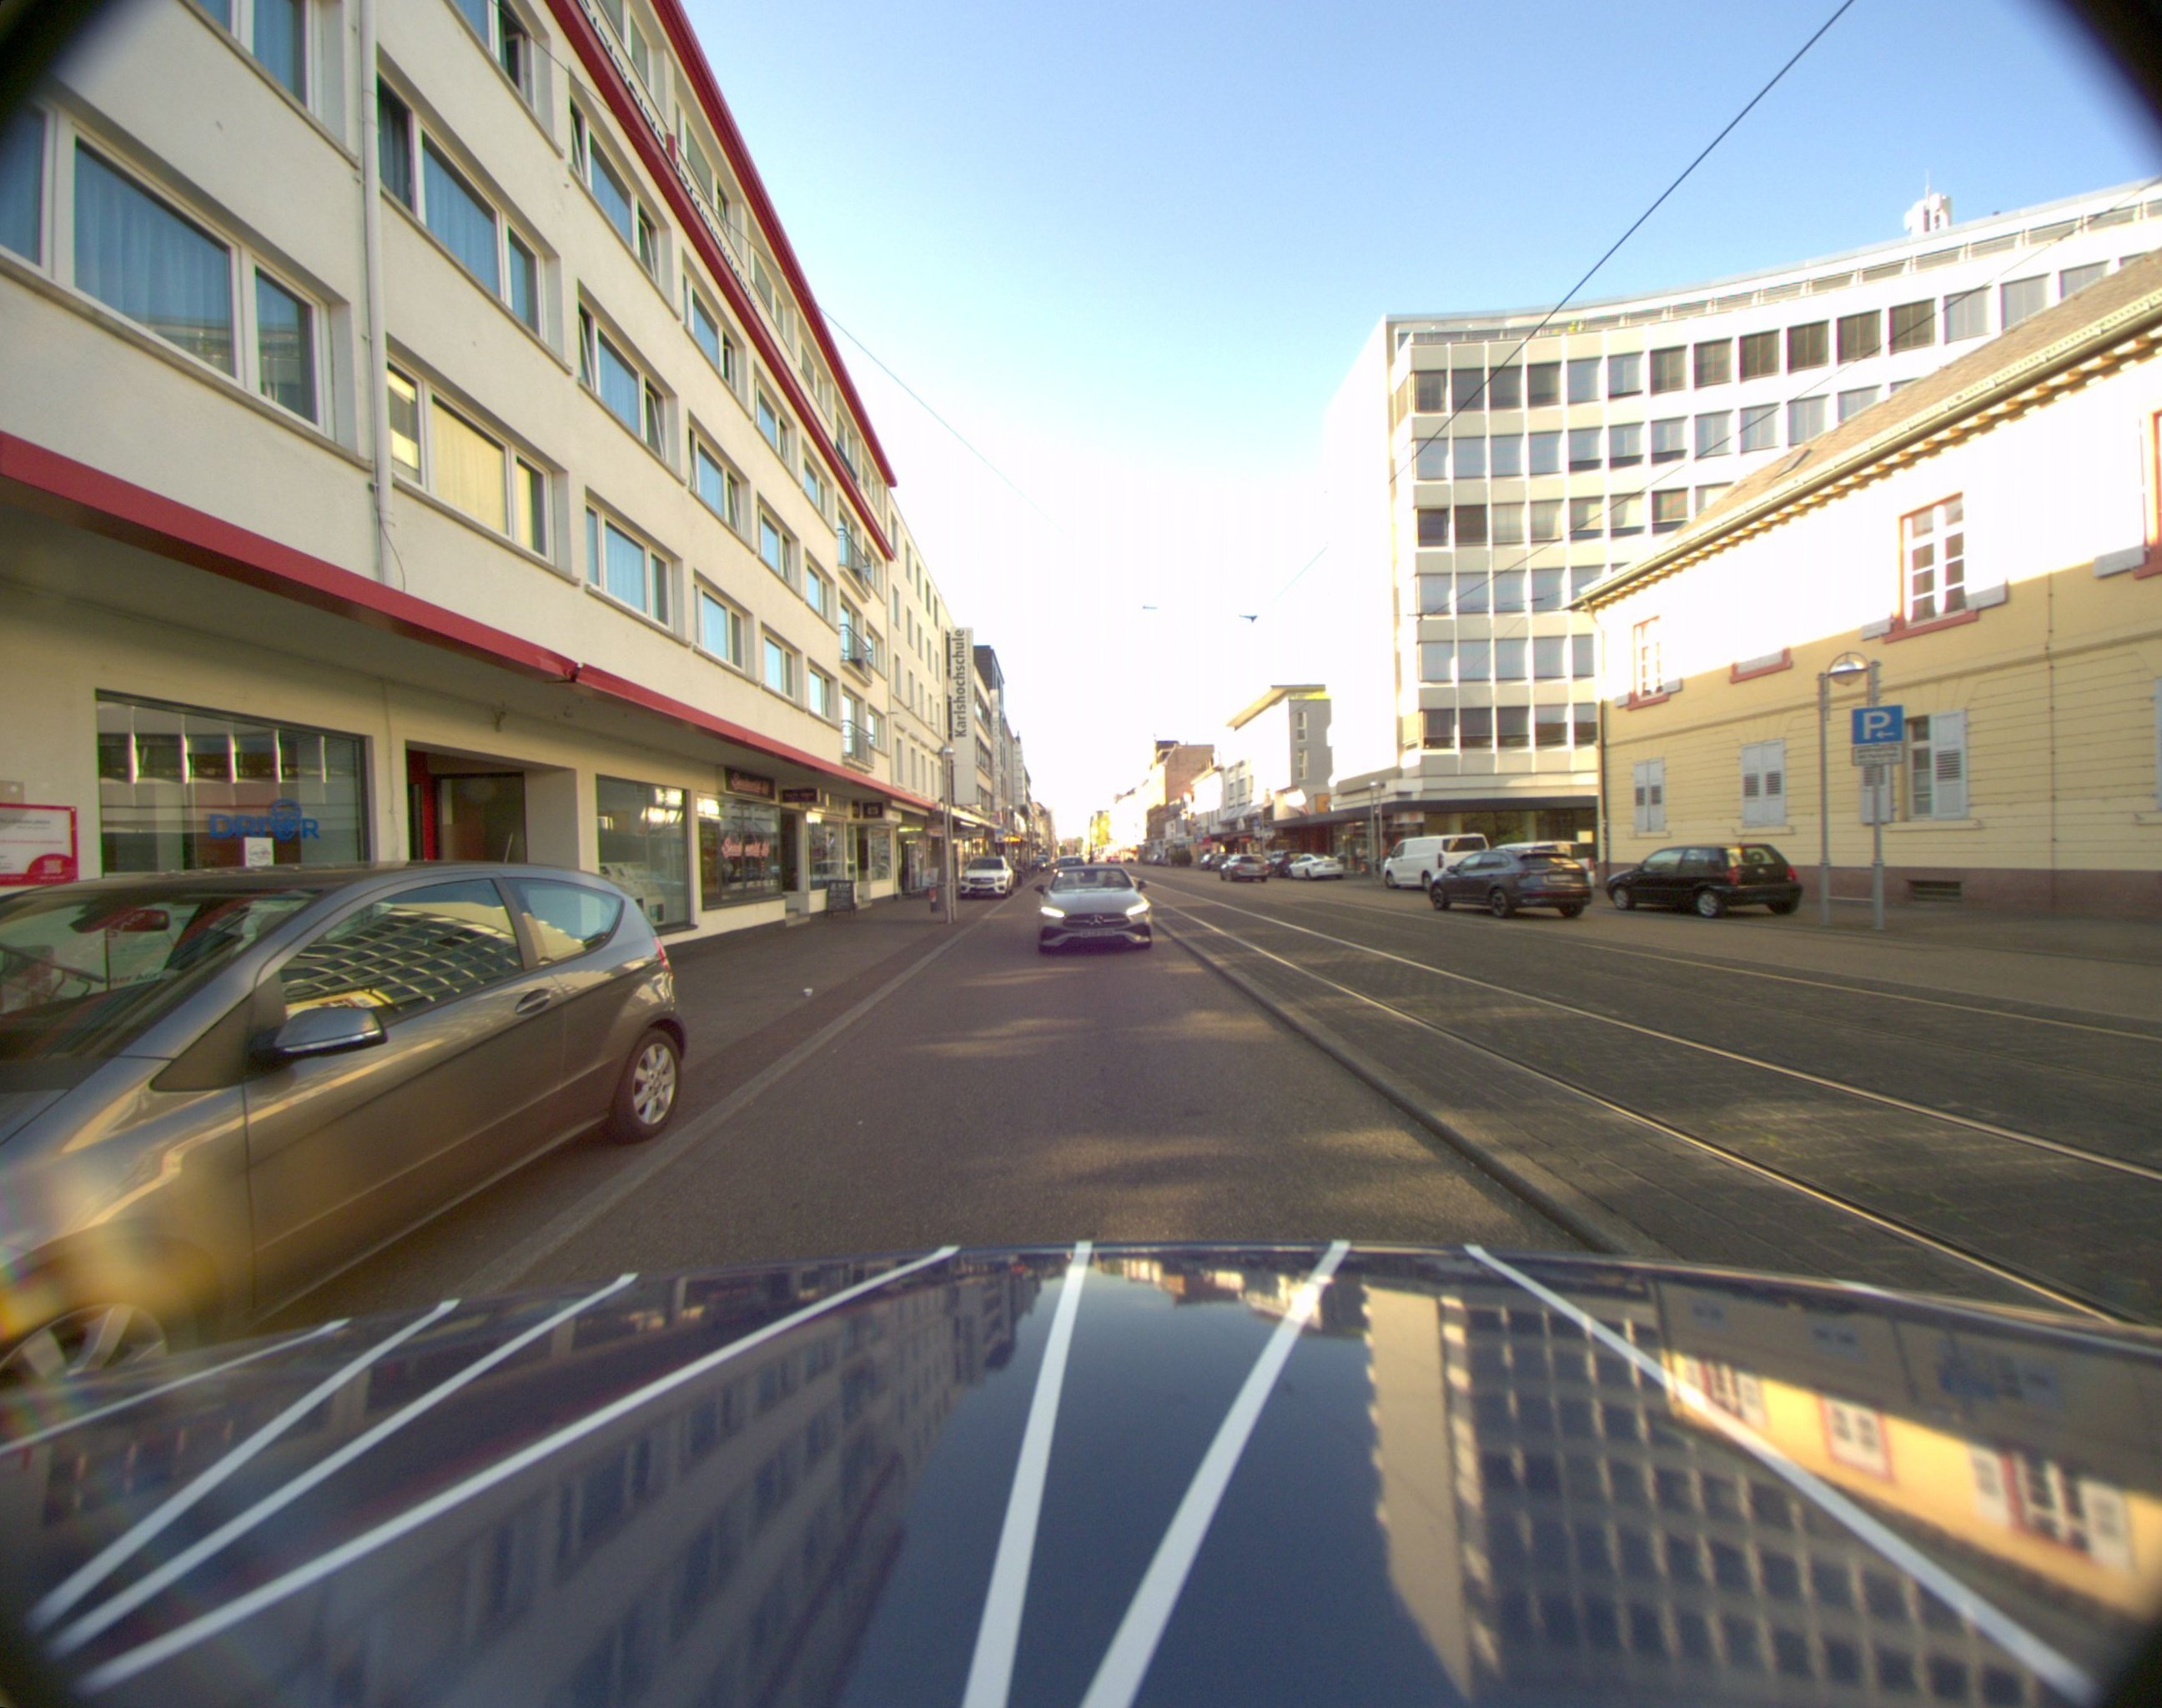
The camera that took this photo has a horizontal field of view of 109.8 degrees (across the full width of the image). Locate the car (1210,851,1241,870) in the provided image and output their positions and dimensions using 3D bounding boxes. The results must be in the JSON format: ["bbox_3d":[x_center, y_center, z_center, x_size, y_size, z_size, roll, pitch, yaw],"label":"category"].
[{"bbox_3d":[12.189,0.520,64.219,1.605,1.514,3.588,-4,1,-3],"label":"car"}]

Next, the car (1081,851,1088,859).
[{"bbox_3d":[1.037,0.284,215.034,1.998,2.002,3.999,-4,1,0],"label":"car"}]

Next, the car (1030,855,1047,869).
[{"bbox_3d":[-4.742,0.868,85.740,1.726,1.476,4.415,0,1,-1],"label":"car"}]

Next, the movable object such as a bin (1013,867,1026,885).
[{"bbox_3d":[-3.427,1.226,42.390,0.688,1.008,0.508,-1,1,2],"label":"movable object such as a bin"}]

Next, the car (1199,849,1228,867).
[{"bbox_3d":[12.242,0.348,70.321,1.741,1.514,4.851,-4,1,0],"label":"car"}]

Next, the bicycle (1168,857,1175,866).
[{"bbox_3d":[10.920,0.920,91.827,0.520,1.084,1.715,-4,1,-1],"label":"bicycle"}]

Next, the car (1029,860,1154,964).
[{"bbox_3d":[0.106,0.907,13.965,1.858,1.463,4.785,-1,1,-1],"label":"car"}]

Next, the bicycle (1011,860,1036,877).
[{"bbox_3d":[-4.273,1.084,56.843,1.792,1.210,0.587,-1,1,-2],"label":"bicycle"}]

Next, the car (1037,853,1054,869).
[{"bbox_3d":[-4.342,0.844,92.047,1.821,1.849,4.548,-1,1,-4],"label":"car"}]

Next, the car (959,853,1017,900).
[{"bbox_3d":[-3.669,0.852,30.929,1.854,1.714,5.191,0,1,-1],"label":"car"}]

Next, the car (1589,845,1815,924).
[{"bbox_3d":[12.870,0.555,16.071,1.618,1.392,3.719,-4,1,-1],"label":"car"}]

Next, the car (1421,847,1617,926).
[{"bbox_3d":[9.645,0.637,17.204,1.769,1.503,4.278,-2,0,-3],"label":"car"}]

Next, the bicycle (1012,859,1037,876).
[{"bbox_3d":[-4.198,0.987,56.244,1.792,1.210,0.669,-1,1,-2],"label":"bicycle"}]

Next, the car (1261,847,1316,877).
[{"bbox_3d":[12.623,0.441,46.536,1.983,1.669,4.654,-4,1,-1],"label":"car"}]

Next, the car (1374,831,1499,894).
[{"bbox_3d":[12.836,0.255,27.857,1.999,1.964,5.095,-4,1,-1],"label":"car"}]

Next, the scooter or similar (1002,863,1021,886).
[{"bbox_3d":[-3.770,1.087,41.033,0.995,1.224,0.319,0,1,-2],"label":"scooter or similar"}]

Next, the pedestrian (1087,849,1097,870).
[{"bbox_3d":[0.944,0.453,64.486,0.806,1.827,0.746,0,1,-2],"label":"pedestrian"}]

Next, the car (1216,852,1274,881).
[{"bbox_3d":[8.781,0.647,41.109,1.885,1.487,4.928,0,0,-3],"label":"car"}]

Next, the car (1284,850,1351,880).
[{"bbox_3d":[12.682,0.557,41.049,1.893,1.413,4.655,-4,1,-2],"label":"car"}]

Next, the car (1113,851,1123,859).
[{"bbox_3d":[7.288,0.191,149.437,1.802,1.625,3.675,-1,1,-1],"label":"car"}]

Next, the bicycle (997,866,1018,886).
[{"bbox_3d":[-3.931,1.174,40.683,1.134,1.073,0.319,0,1,-2],"label":"bicycle"}]

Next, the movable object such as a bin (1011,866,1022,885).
[{"bbox_3d":[-3.524,1.194,41.646,0.523,1.008,0.671,-1,1,2],"label":"movable object such as a bin"}]

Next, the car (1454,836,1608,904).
[{"bbox_3d":[13.019,0.407,22.373,1.812,1.676,4.648,-4,1,2],"label":"car"}]

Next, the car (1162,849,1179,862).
[{"bbox_3d":[11.635,0.176,99.084,1.701,1.594,2.890,-3,1,-1],"label":"car"}]

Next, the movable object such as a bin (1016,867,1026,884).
[{"bbox_3d":[-3.382,1.218,42.932,0.489,0.952,0.457,-1,1,2],"label":"movable object such as a bin"}]

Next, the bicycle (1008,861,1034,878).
[{"bbox_3d":[-4.329,1.112,54.784,1.792,1.153,0.669,-1,1,-2],"label":"bicycle"}]

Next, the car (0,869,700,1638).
[{"bbox_3d":[-3.248,0.910,2.897,1.750,1.622,3.648,-1,0,0],"label":"car"}]

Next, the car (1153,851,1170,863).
[{"bbox_3d":[11.514,0.410,108.509,1.822,1.505,4.762,-2,1,-1],"label":"car"}]
